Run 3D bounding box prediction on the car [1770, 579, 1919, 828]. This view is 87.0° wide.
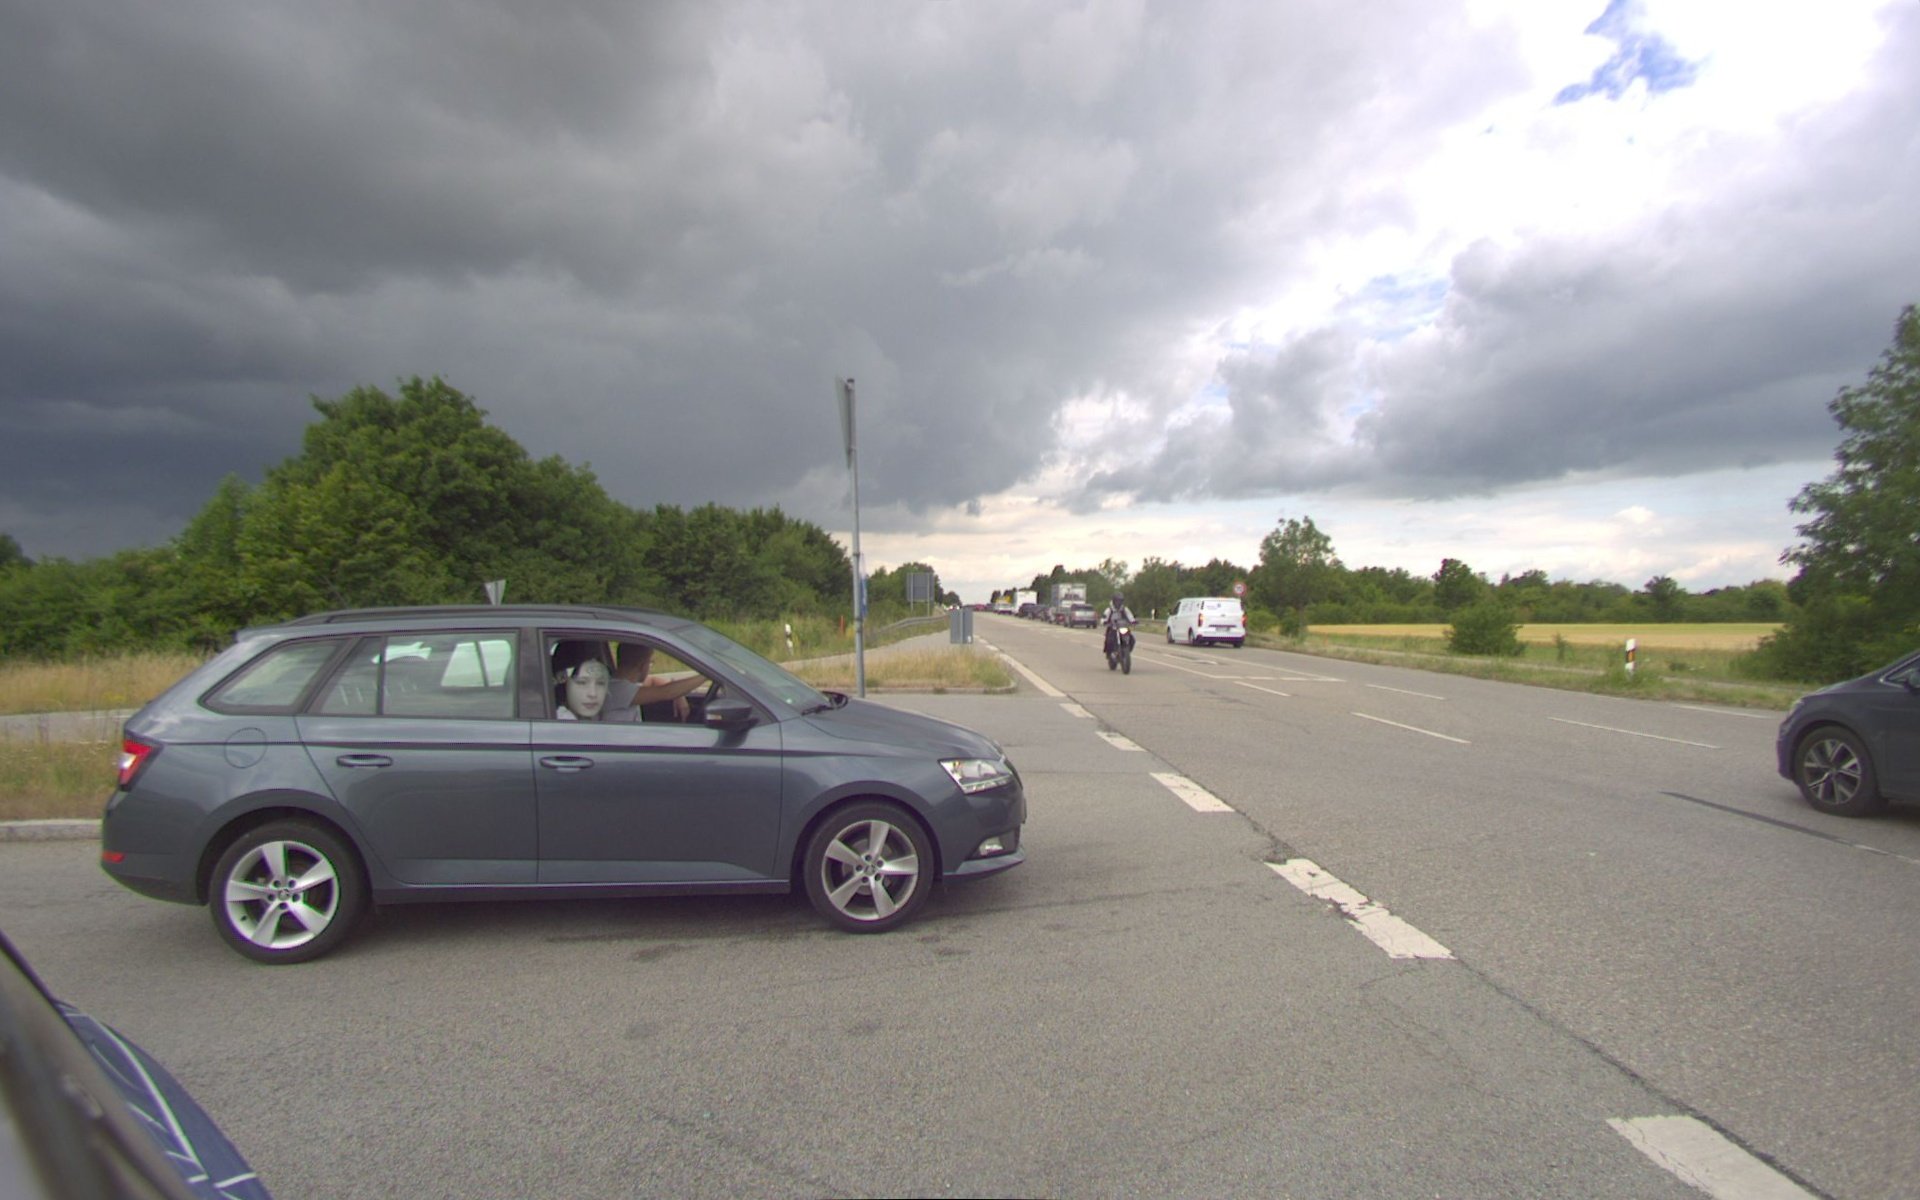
[{"bbox_3d":[7.341,0.692,5.853,1.728,1.671,4.292,1,-1,-2],"label":"car"}]

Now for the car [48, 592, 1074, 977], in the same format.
[{"bbox_3d":[-1.637,0.708,5.039,4.052,1.458,1.722,-1,0,-8],"label":"car"}]

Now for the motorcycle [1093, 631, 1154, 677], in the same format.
[{"bbox_3d":[3.576,1.166,22.381,0.930,0.896,2.146,0,0,-2],"label":"motorcycle"}]

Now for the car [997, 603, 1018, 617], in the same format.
[{"bbox_3d":[6.430,1.385,137.349,2.307,1.936,4.877,-1,-1,-2],"label":"car"}]

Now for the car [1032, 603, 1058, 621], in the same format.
[{"bbox_3d":[7.644,1.095,91.366,1.822,1.537,4.001,-1,-1,-1],"label":"car"}]

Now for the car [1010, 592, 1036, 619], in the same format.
[{"bbox_3d":[7.323,0.669,118.875,2.307,3.052,6.561,-1,-1,-2],"label":"car"}]

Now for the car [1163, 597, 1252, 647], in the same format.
[{"bbox_3d":[9.835,0.867,40.753,2.082,1.900,5.393,0,-1,-2],"label":"car"}]

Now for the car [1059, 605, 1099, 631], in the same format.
[{"bbox_3d":[7.984,1.201,68.240,1.970,1.636,4.264,2,-1,-3],"label":"car"}]

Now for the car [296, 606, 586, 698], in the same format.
[{"bbox_3d":[-9.219,0.856,18.220,4.327,1.462,1.773,1,-1,-44],"label":"car"}]

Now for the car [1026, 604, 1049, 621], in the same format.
[{"bbox_3d":[7.563,1.250,99.443,1.822,1.537,4.001,-1,-1,-2],"label":"car"}]

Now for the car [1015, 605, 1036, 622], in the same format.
[{"bbox_3d":[7.008,1.501,108.600,1.831,1.763,4.002,0,-1,-2],"label":"car"}]

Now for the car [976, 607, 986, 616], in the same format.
[{"bbox_3d":[4.099,2.228,202.197,1.831,1.763,4.001,0,-1,-1],"label":"car"}]

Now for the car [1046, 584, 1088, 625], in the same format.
[{"bbox_3d":[8.339,0.413,79.193,2.307,3.052,6.560,2,-1,-2],"label":"car"}]

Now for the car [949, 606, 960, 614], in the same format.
[{"bbox_3d":[-1.028,1.985,197.198,1.971,1.493,4.001,0,0,-2],"label":"car"}]

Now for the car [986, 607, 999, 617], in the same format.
[{"bbox_3d":[5.425,1.997,168.874,1.831,1.763,4.001,0,-1,-1],"label":"car"}]

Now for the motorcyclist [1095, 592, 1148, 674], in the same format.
[{"bbox_3d":[3.574,0.722,22.470,0.930,1.763,1.201,0,-1,-2],"label":"motorcyclist"}]

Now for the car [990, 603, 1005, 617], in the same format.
[{"bbox_3d":[5.513,1.521,148.181,1.771,2.029,4.002,-1,-1,-3],"label":"car"}]

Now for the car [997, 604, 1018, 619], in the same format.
[{"bbox_3d":[6.100,1.512,131.093,2.307,1.936,4.877,-1,-1,-2],"label":"car"}]

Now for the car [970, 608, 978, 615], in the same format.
[{"bbox_3d":[3.117,2.526,226.054,1.771,1.564,4.002,-1,-1,-2],"label":"car"}]
